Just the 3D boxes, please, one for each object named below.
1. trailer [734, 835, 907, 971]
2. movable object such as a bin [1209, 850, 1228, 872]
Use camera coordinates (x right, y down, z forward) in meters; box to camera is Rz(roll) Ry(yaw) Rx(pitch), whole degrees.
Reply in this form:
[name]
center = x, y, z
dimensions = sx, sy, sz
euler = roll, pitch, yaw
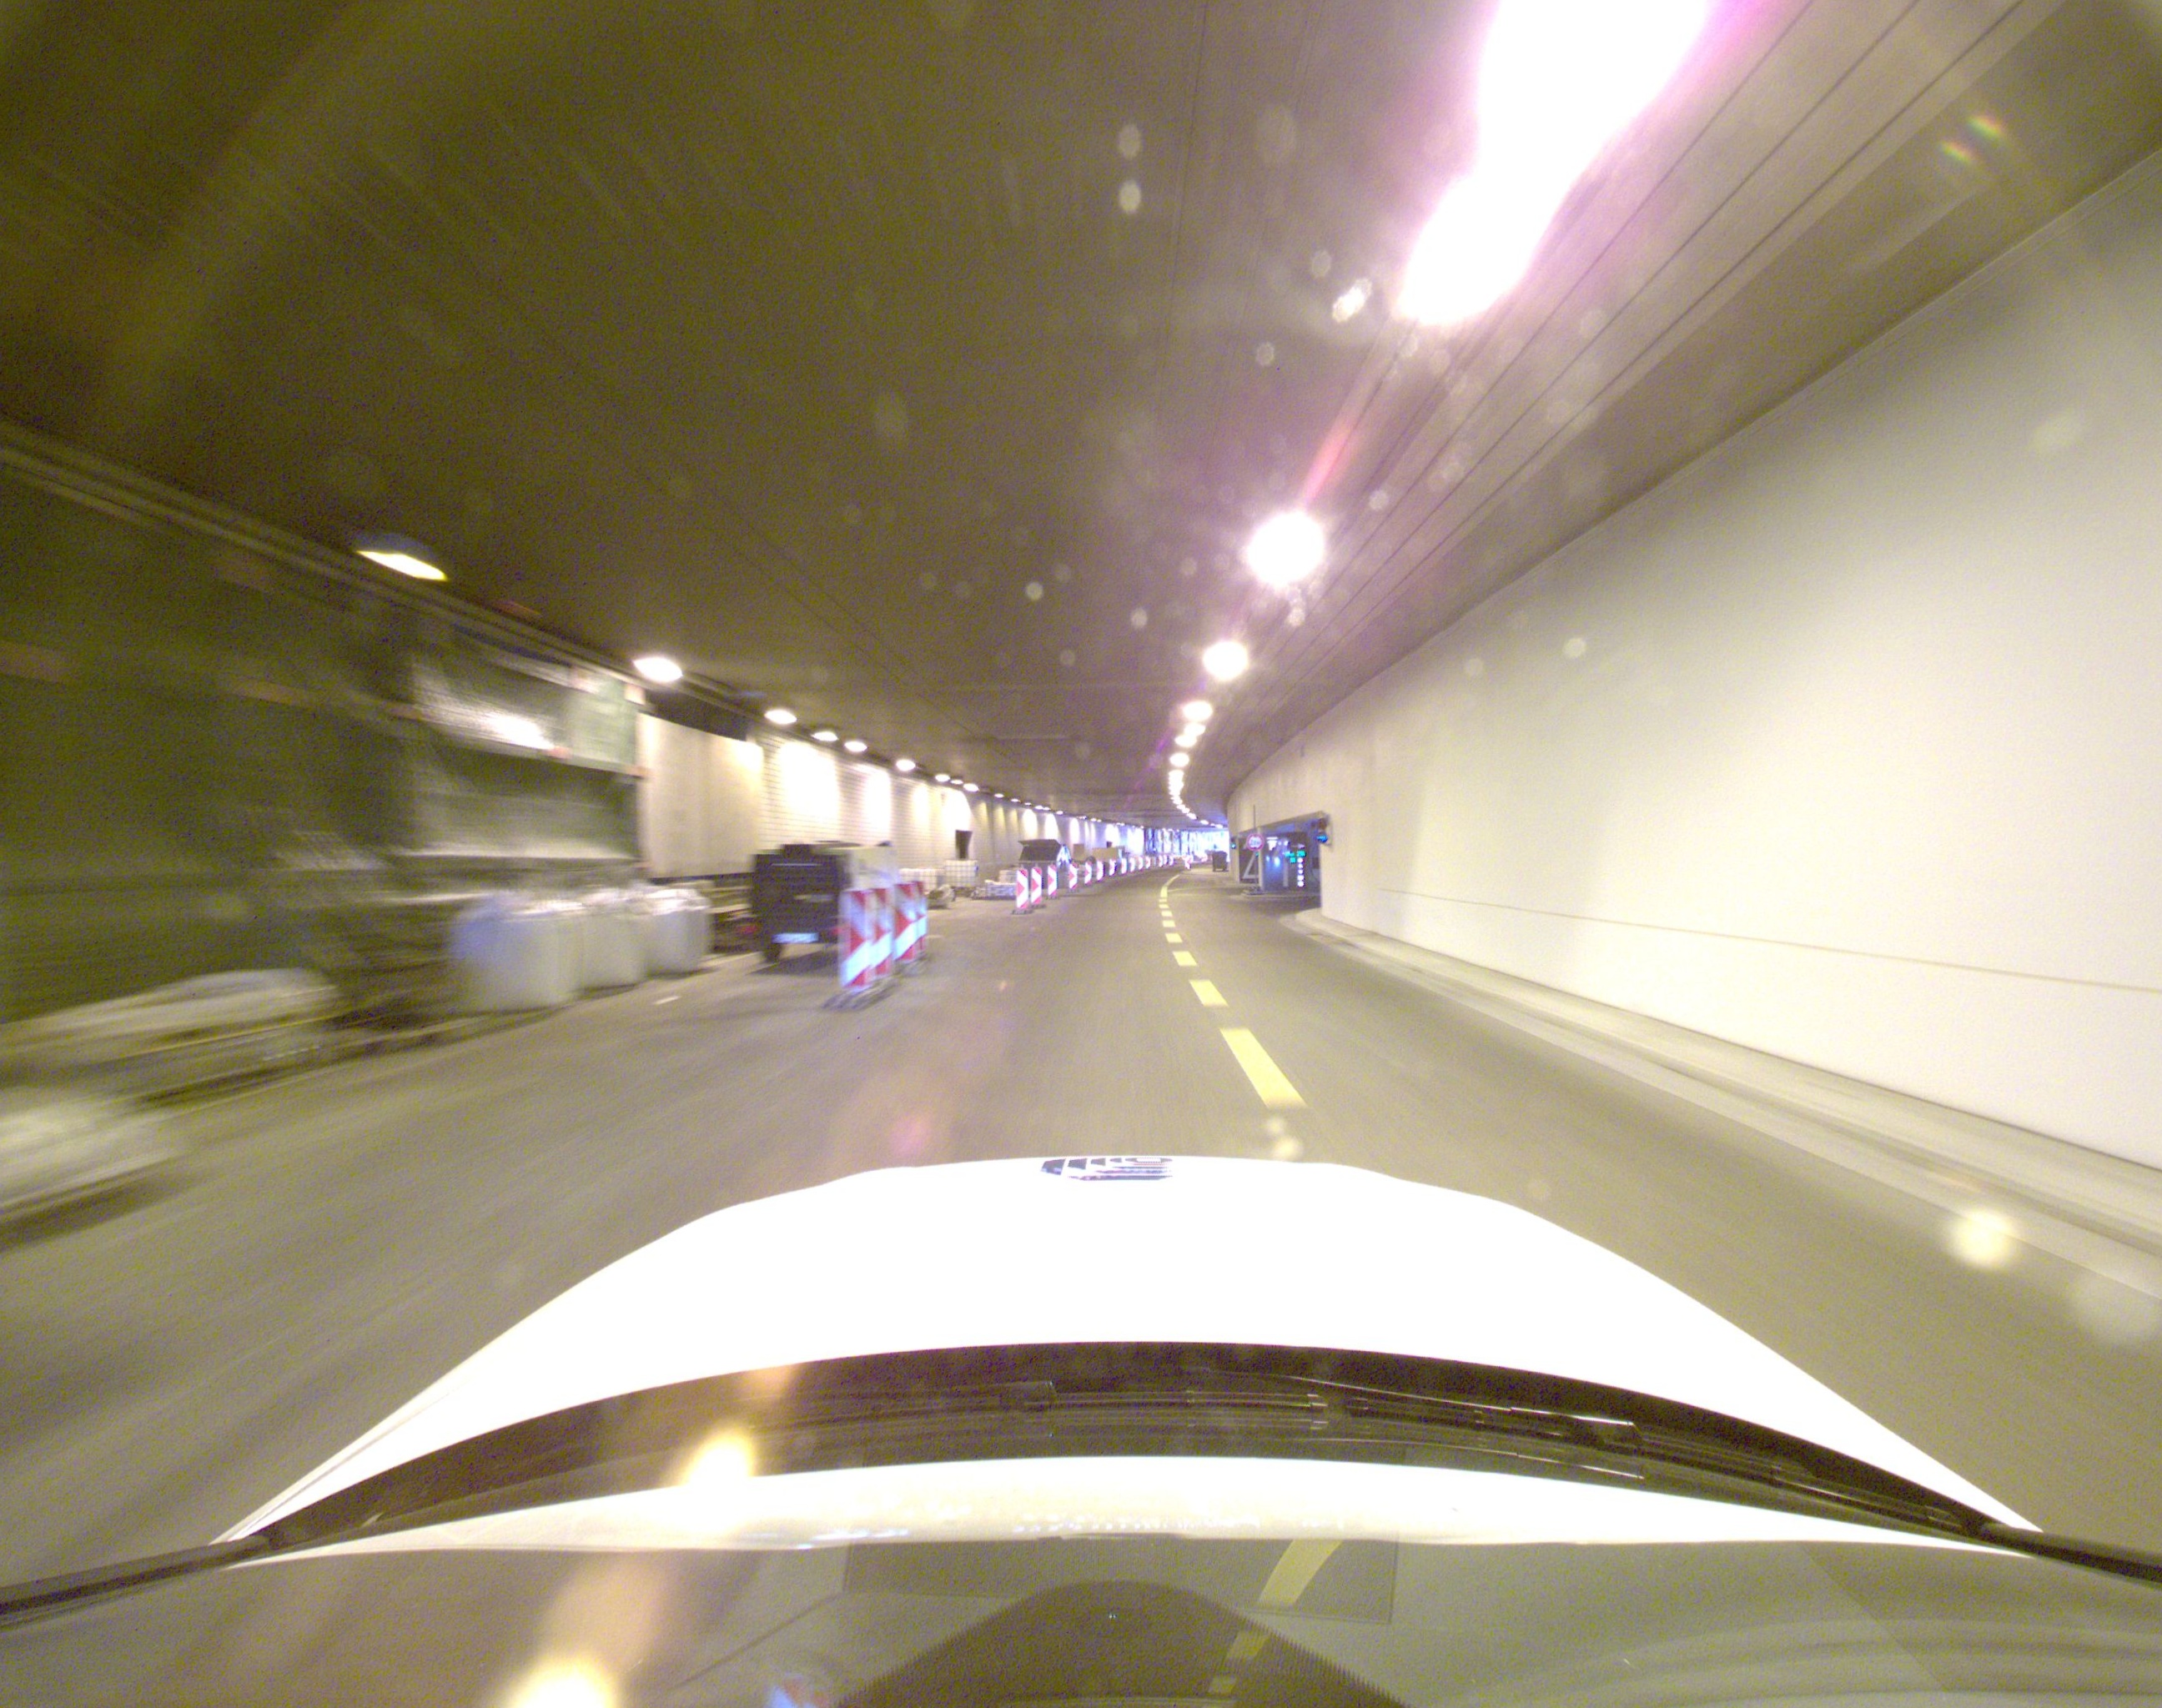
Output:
[trailer]
center = -3.780, 0.662, 12.301
dimensions = 1.575, 1.798, 2.940
euler = 0, 0, 2
[movable object such as a bin]
center = 9.589, 0.452, 56.668
dimensions = 1.187, 1.460, 1.610
euler = -3, -1, 10
